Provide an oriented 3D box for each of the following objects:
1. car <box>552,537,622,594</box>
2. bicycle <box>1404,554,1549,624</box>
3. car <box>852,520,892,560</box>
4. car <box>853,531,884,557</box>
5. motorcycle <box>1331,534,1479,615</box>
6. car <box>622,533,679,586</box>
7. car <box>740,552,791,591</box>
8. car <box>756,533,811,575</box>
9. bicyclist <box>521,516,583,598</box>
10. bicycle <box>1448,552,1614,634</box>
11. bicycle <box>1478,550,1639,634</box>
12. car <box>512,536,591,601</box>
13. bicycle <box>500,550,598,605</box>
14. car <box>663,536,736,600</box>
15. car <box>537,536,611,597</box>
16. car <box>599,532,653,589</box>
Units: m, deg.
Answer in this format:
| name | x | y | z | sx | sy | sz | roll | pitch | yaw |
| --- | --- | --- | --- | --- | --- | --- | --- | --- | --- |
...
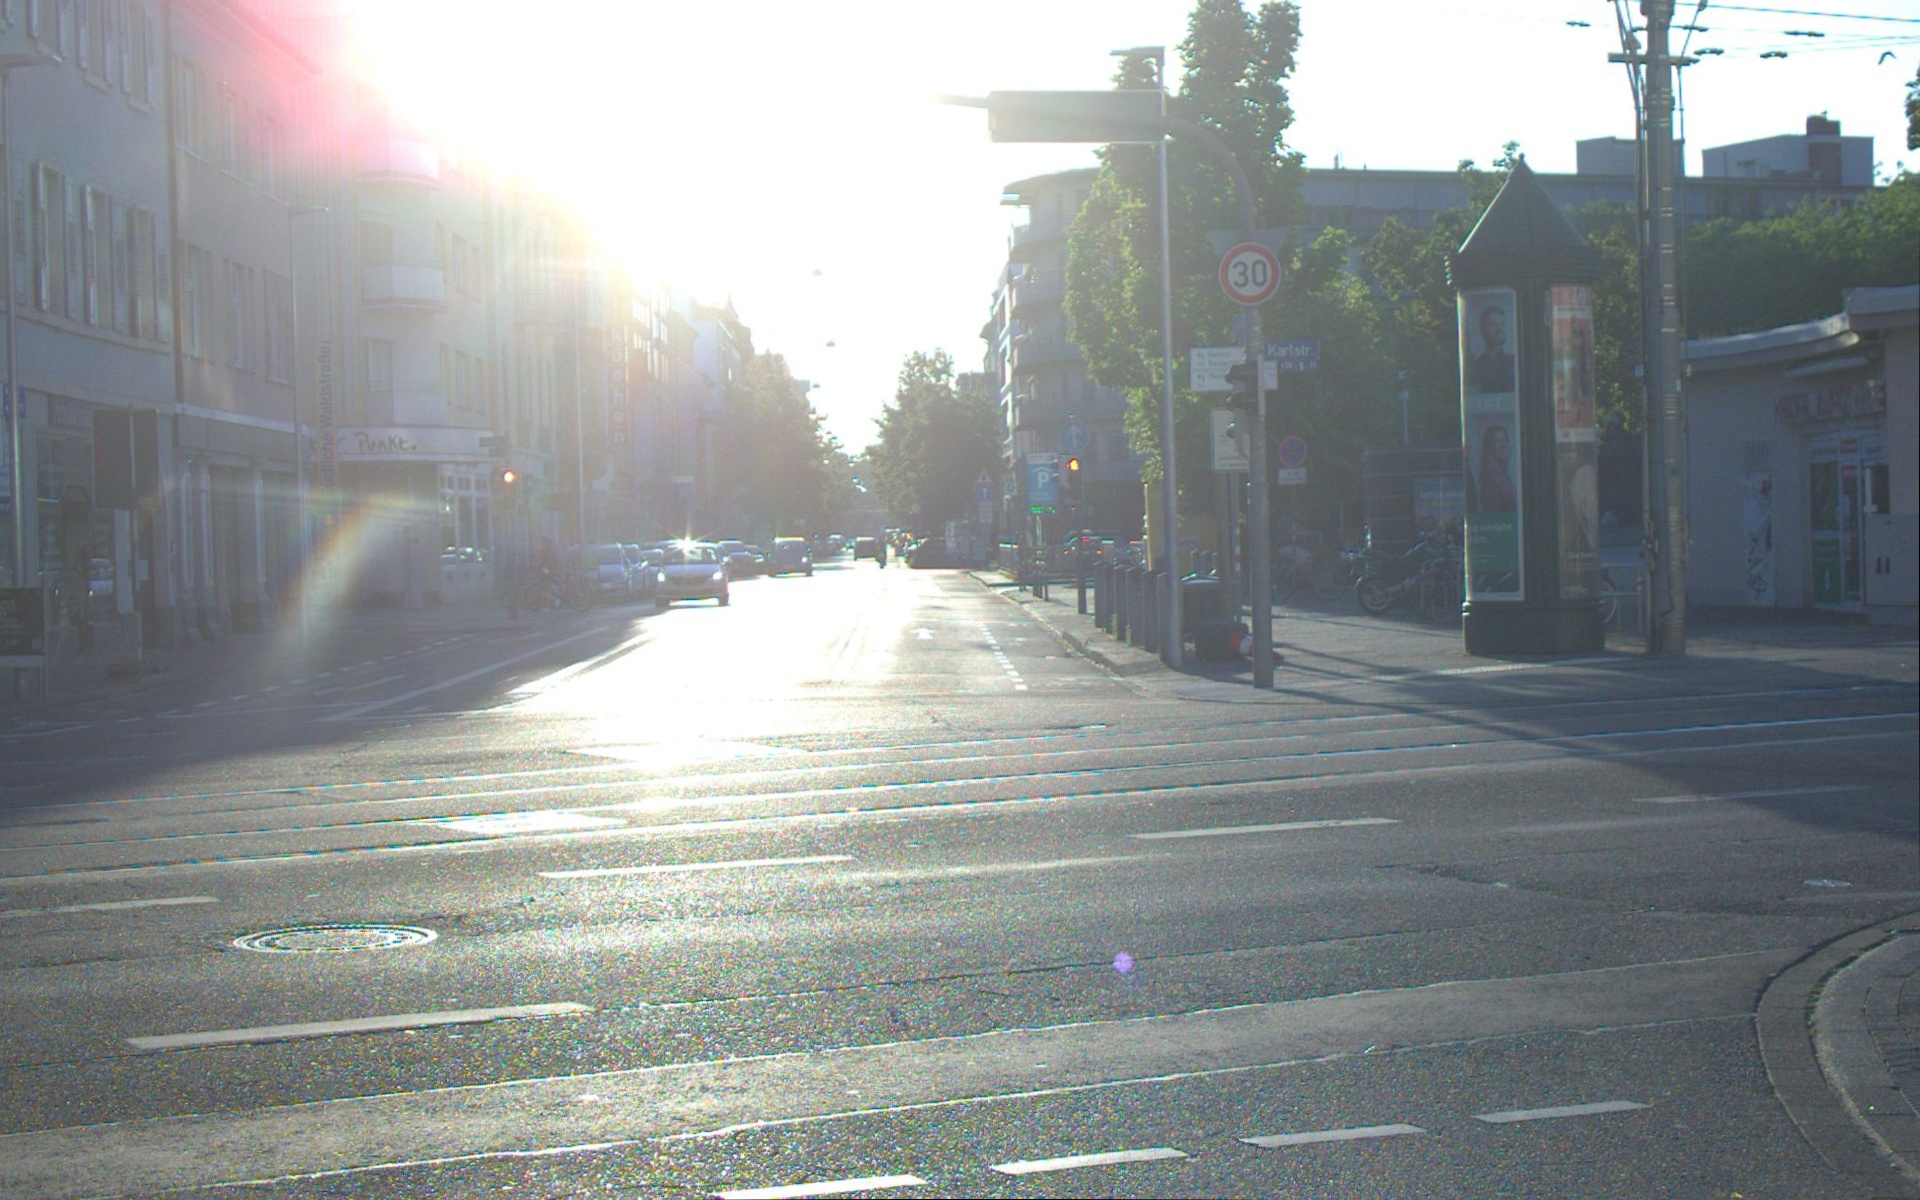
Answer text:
| name | x | y | z | sx | sy | sz | roll | pitch | yaw |
| --- | --- | --- | --- | --- | --- | --- | --- | --- | --- |
| car | -9.857 | -0.914 | 90.998 | 1.545 | 1.464 | 3.352 | -1 | 0 | -1 |
| bicycle | 7.587 | -0.164 | 50.541 | 2.078 | 0.979 | 0.560 | -1 | 0 | 7 |
| car | -4.507 | -3.067 | 176.825 | 1.993 | 2.007 | 4.000 | 0 | 0 | -1 |
| car | -6.580 | -4.003 | 246.900 | 1.993 | 1.809 | 4.000 | -2 | 1 | 1 |
| motorcycle | 6.933 | -0.402 | 53.645 | 2.235 | 1.197 | 0.720 | -1 | 1 | 5 |
| car | -9.295 | -1.221 | 103.497 | 1.483 | 1.554 | 3.259 | -1 | 0 | -1 |
| car | -8.529 | -1.250 | 150.790 | 1.993 | 1.674 | 4.000 | 0 | 0 | 0 |
| car | -7.389 | -1.936 | 144.258 | 1.993 | 1.678 | 4.000 | -2 | 1 | 1 |
| bicyclist | -9.015 | -0.947 | 75.916 | 1.130 | 1.784 | 0.764 | 1 | 0 | 18 |
| bicycle | 7.618 | -0.092 | 45.954 | 2.147 | 1.040 | 0.560 | -1 | 0 | 7 |
| bicycle | 7.782 | -0.104 | 44.774 | 2.020 | 1.041 | 0.560 | -1 | 0 | 7 |
| car | -9.764 | -0.763 | 82.377 | 1.545 | 1.478 | 3.352 | -2 | 1 | -1 |
| bicycle | -9.076 | -0.499 | 75.905 | 2.119 | 1.200 | 0.500 | 1 | 0 | 19 |
| car | -6.170 | -0.753 | 81.612 | 1.545 | 1.463 | 3.352 | -1 | 0 | -1 |
| car | -9.639 | -0.836 | 86.021 | 1.545 | 1.464 | 3.352 | -1 | 0 | -1 |
| car | -9.473 | -1.114 | 97.708 | 1.307 | 1.577 | 2.889 | -1 | 1 | -1 |
